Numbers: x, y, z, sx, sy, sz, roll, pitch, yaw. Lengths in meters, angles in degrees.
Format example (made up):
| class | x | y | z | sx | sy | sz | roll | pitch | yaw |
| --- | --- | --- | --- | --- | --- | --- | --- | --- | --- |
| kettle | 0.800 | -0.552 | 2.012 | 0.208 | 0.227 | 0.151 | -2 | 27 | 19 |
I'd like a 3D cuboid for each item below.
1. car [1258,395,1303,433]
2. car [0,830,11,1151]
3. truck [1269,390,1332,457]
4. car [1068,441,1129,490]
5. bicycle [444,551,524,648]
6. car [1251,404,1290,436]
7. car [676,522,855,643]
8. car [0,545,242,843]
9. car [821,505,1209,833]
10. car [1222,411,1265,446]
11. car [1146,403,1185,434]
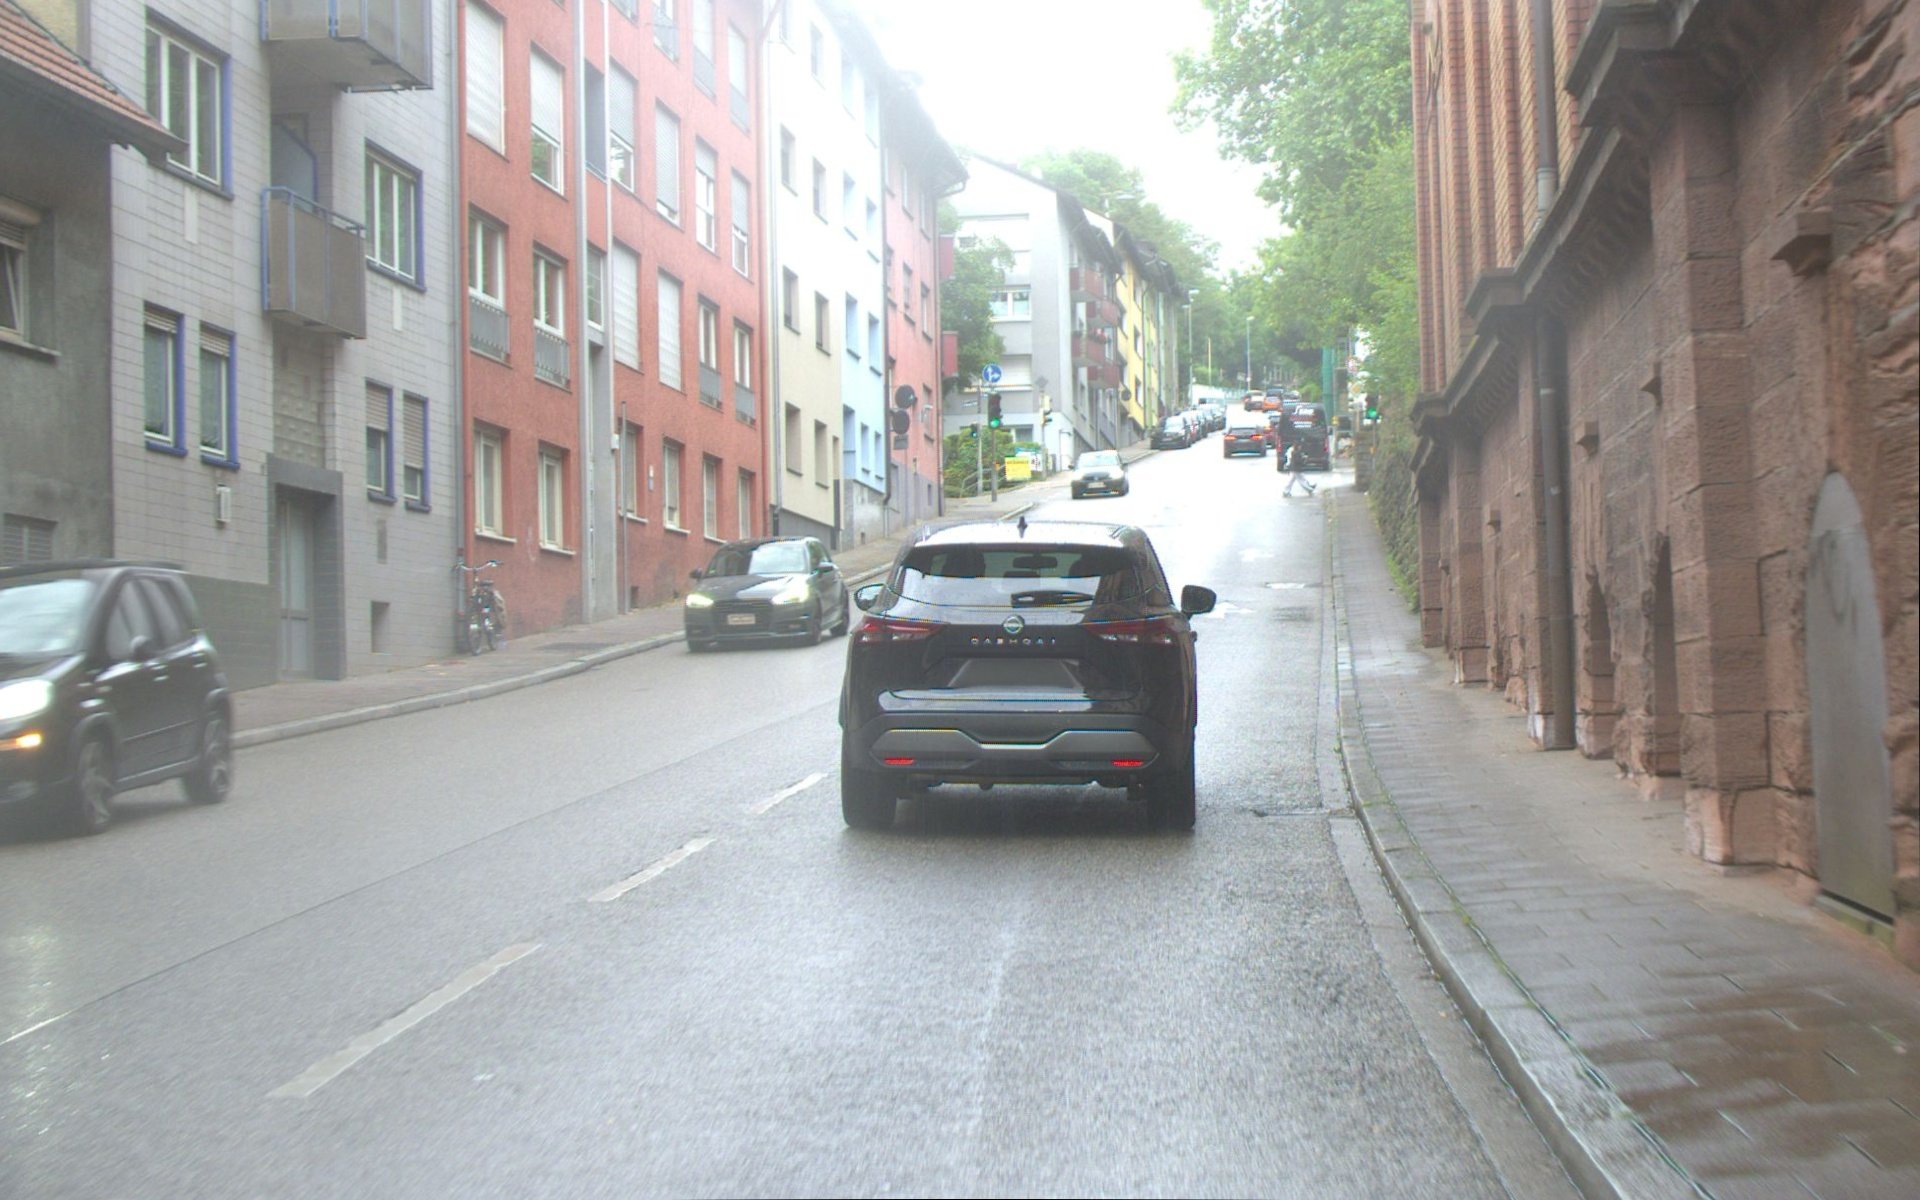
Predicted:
| class | x | y | z | sx | sy | sz | roll | pitch | yaw |
| --- | --- | --- | --- | --- | --- | --- | --- | --- | --- |
| car | 13.649 | -7.890 | 146.281 | 1.794 | 1.505 | 4.499 | -2 | 2 | 6 |
| car | -3.268 | 0.620 | 6.487 | 1.764 | 1.571 | 4.036 | -2 | 1 | 0 |
| truck | 13.024 | -6.746 | 131.489 | 2.290 | 2.431 | 4.452 | -2 | 2 | 6 |
| car | 4.481 | -4.337 | 110.624 | 1.714 | 1.443 | 3.921 | -2 | 3 | 5 |
| bicycle | -5.855 | -0.023 | 42.397 | 0.498 | 1.104 | 1.800 | -1 | 2 | 7 |
| car | 15.422 | -8.929 | 170.751 | 1.794 | 1.505 | 4.000 | -2 | 2 | 6 |
| car | -2.482 | -0.259 | 44.709 | 1.645 | 1.373 | 3.850 | -3 | 1 | 6 |
| car | -5.418 | 0.500 | 19.582 | 1.645 | 1.491 | 3.376 | -3 | 1 | 4 |
| car | 0.336 | 0.319 | 18.745 | 1.881 | 1.588 | 3.921 | 0 | 1 | 2 |
| car | 12.950 | -7.819 | 156.792 | 1.794 | 1.505 | 4.000 | -2 | 2 | 6 |
| car | 10.600 | -9.332 | 176.993 | 1.794 | 1.505 | 4.000 | -2 | 2 | 6 |
